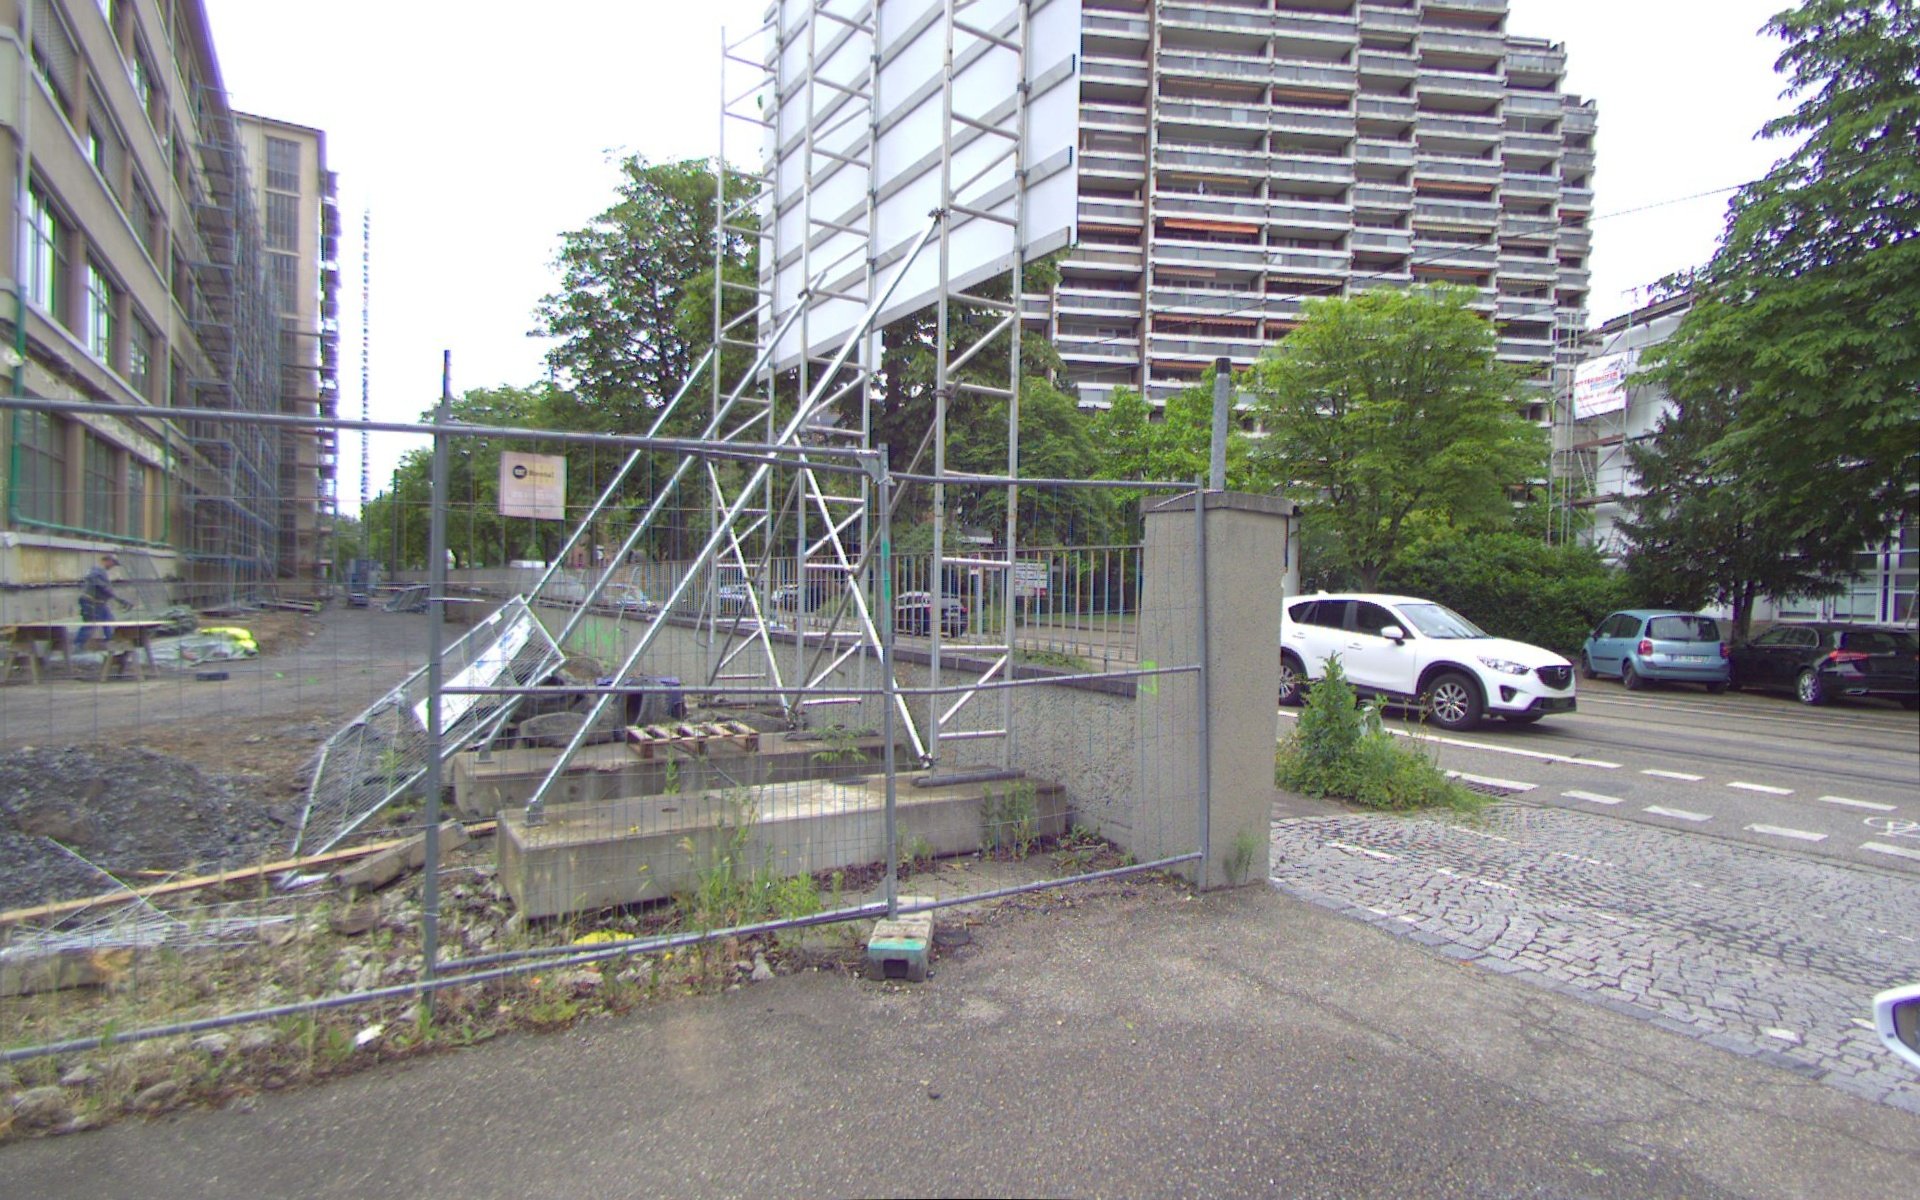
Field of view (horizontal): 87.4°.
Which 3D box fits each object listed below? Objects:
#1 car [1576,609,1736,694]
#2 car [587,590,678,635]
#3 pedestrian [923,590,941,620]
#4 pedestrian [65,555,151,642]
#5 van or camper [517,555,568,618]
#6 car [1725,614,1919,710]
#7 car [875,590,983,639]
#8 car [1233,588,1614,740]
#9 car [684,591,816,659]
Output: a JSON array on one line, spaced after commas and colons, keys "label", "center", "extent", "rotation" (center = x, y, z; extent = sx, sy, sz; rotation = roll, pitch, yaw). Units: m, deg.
[{"label": "car", "center": [14.324, 0.996, 20.874], "extent": [1.586, 1.557, 3.339], "rotation": [2, 0, 14]}, {"label": "car", "center": [-10.809, 0.391, 33.003], "extent": [1.978, 1.328, 3.965], "rotation": [1, 1, -32]}, {"label": "pedestrian", "center": [-1.493, 0.258, 53.523], "extent": [0.838, 1.548, 0.515], "rotation": [1, 1, -44]}, {"label": "pedestrian", "center": [-14.919, -0.026, 17.594], "extent": [0.916, 1.457, 0.979], "rotation": [2, 0, 38]}, {"label": "van or camper", "center": [-19.887, -0.641, 47.791], "extent": [1.974, 2.789, 3.973], "rotation": [1, 0, -26]}, {"label": "car", "center": [15.774, 1.055, 18.372], "extent": [1.586, 1.531, 3.339], "rotation": [2, 0, 14]}, {"label": "car", "center": [-1.144, 0.475, 34.949], "extent": [1.805, 1.510, 4.215], "rotation": [1, 0, -34]}, {"label": "car", "center": [6.287, 0.729, 14.211], "extent": [1.978, 1.726, 4.560], "rotation": [0, 1, -32]}, {"label": "car", "center": [-5.076, 0.552, 23.917], "extent": [1.813, 1.437, 3.965], "rotation": [2, 0, -32]}]
